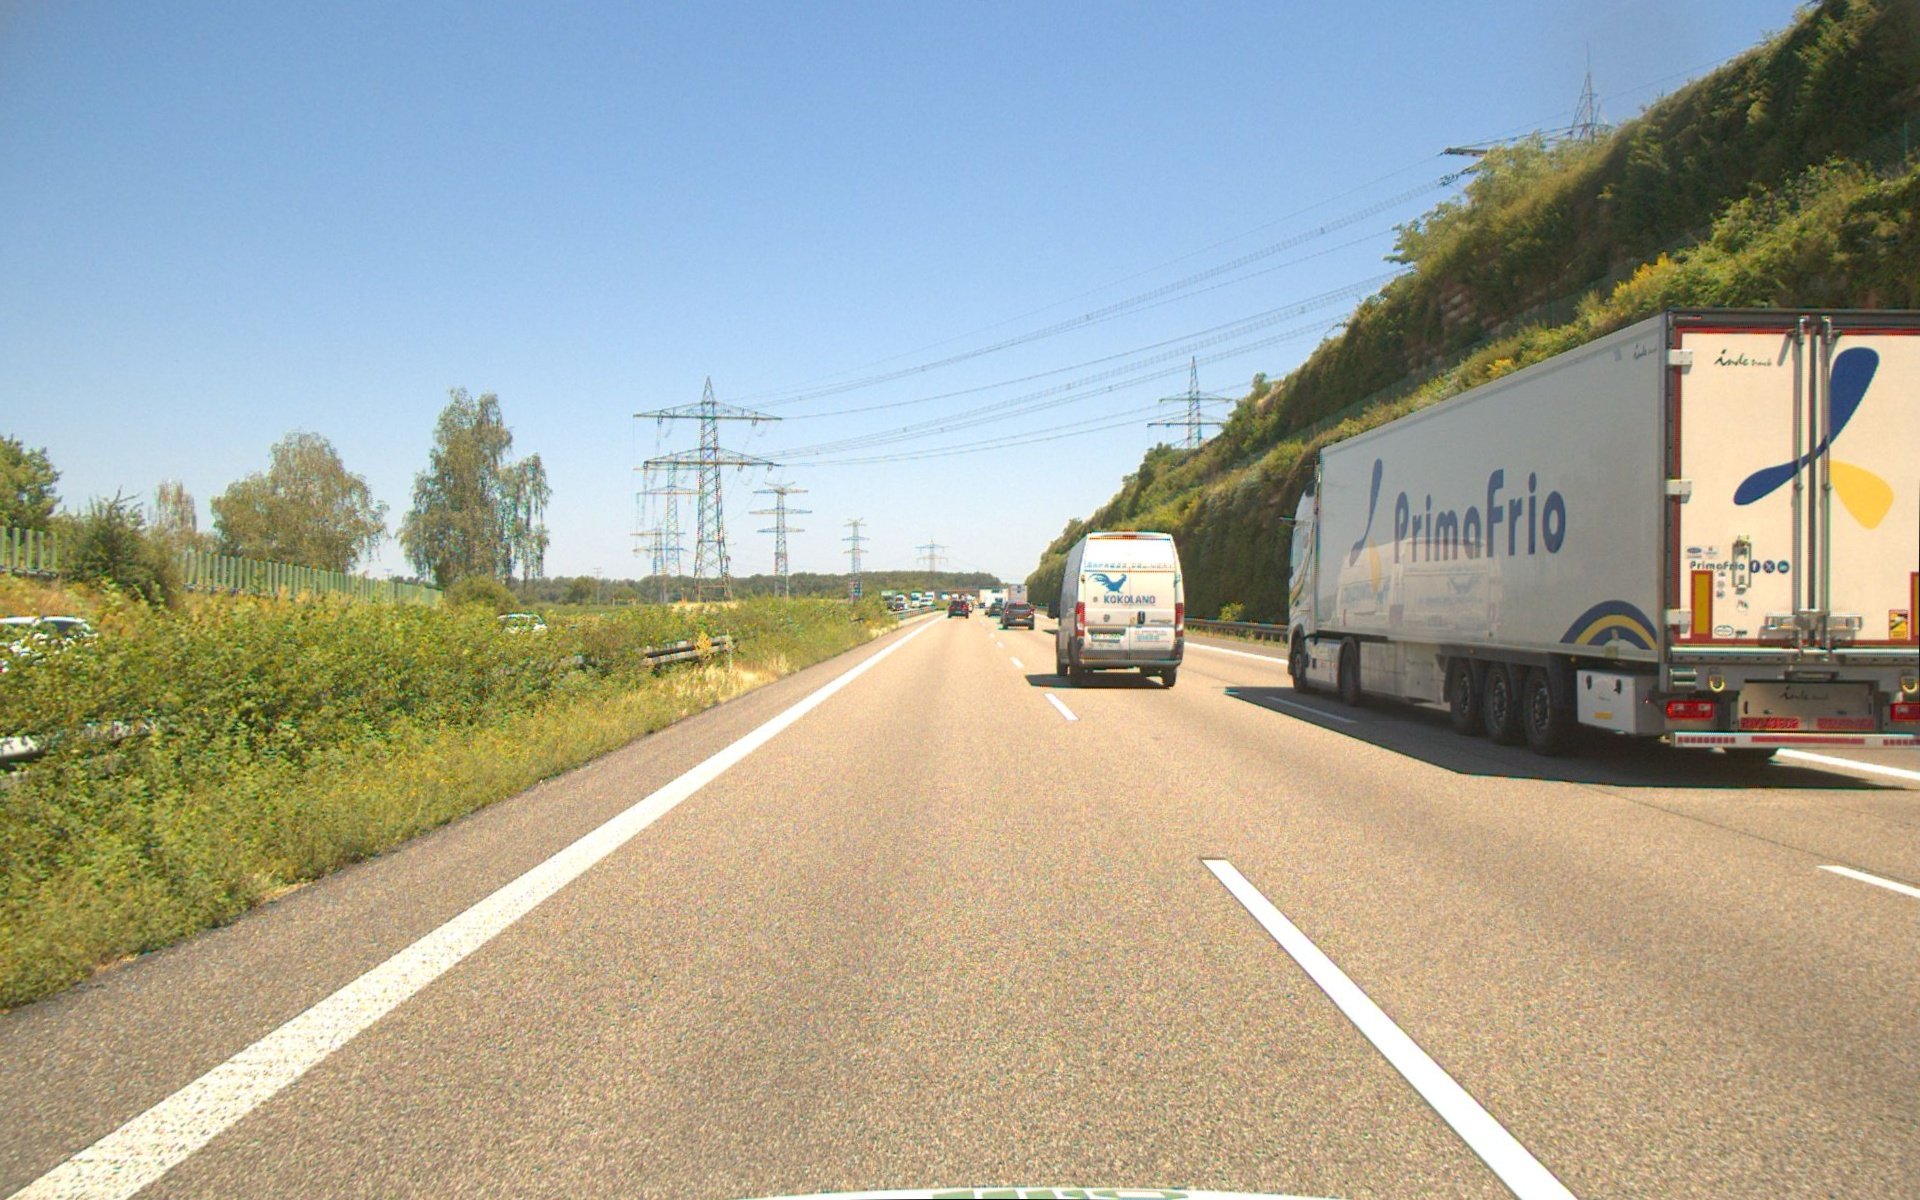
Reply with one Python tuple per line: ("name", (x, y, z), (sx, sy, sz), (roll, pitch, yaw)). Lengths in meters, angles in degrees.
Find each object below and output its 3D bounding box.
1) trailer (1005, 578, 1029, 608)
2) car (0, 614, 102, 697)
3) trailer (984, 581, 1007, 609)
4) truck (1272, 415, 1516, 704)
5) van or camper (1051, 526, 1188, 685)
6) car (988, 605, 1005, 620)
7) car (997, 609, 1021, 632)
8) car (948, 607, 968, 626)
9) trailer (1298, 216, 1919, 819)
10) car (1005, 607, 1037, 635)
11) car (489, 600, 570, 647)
("trailer", (8.386, -1.057, 244.652), (3.117, 4.193, 13.433), (-1, 0, 1))
("car", (-20.289, 1.156, 35.393), (1.728, 1.624, 4.150), (-1, 0, -1))
("trailer", (4.212, -0.573, 196.490), (2.557, 3.269, 9.952), (-1, 0, 0))
("truck", (7.129, -0.592, 28.048), (2.456, 4.294, 6.256), (1, 0, 0))
("van or camper", (3.036, 0.101, 32.881), (2.053, 2.817, 6.756), (0, 0, 0))
("car", (3.806, 1.314, 172.826), (1.792, 1.552, 4.001), (-1, 0, 2))
("car", (3.619, 1.537, 123.089), (1.757, 1.682, 4.138), (0, 0, 1))
("car", (-0.175, 1.555, 156.854), (1.792, 1.700, 4.000), (-1, 0, 0))
("trailer", (7.131, -0.602, 20.298), (2.463, 4.285, 17.026), (0, 0, 0))
("car", (3.526, 1.185, 95.728), (1.713, 1.552, 3.995), (0, 0, 0))
("car", (-16.614, 0.861, 64.097), (1.794, 1.712, 5.496), (-1, 0, -2))
